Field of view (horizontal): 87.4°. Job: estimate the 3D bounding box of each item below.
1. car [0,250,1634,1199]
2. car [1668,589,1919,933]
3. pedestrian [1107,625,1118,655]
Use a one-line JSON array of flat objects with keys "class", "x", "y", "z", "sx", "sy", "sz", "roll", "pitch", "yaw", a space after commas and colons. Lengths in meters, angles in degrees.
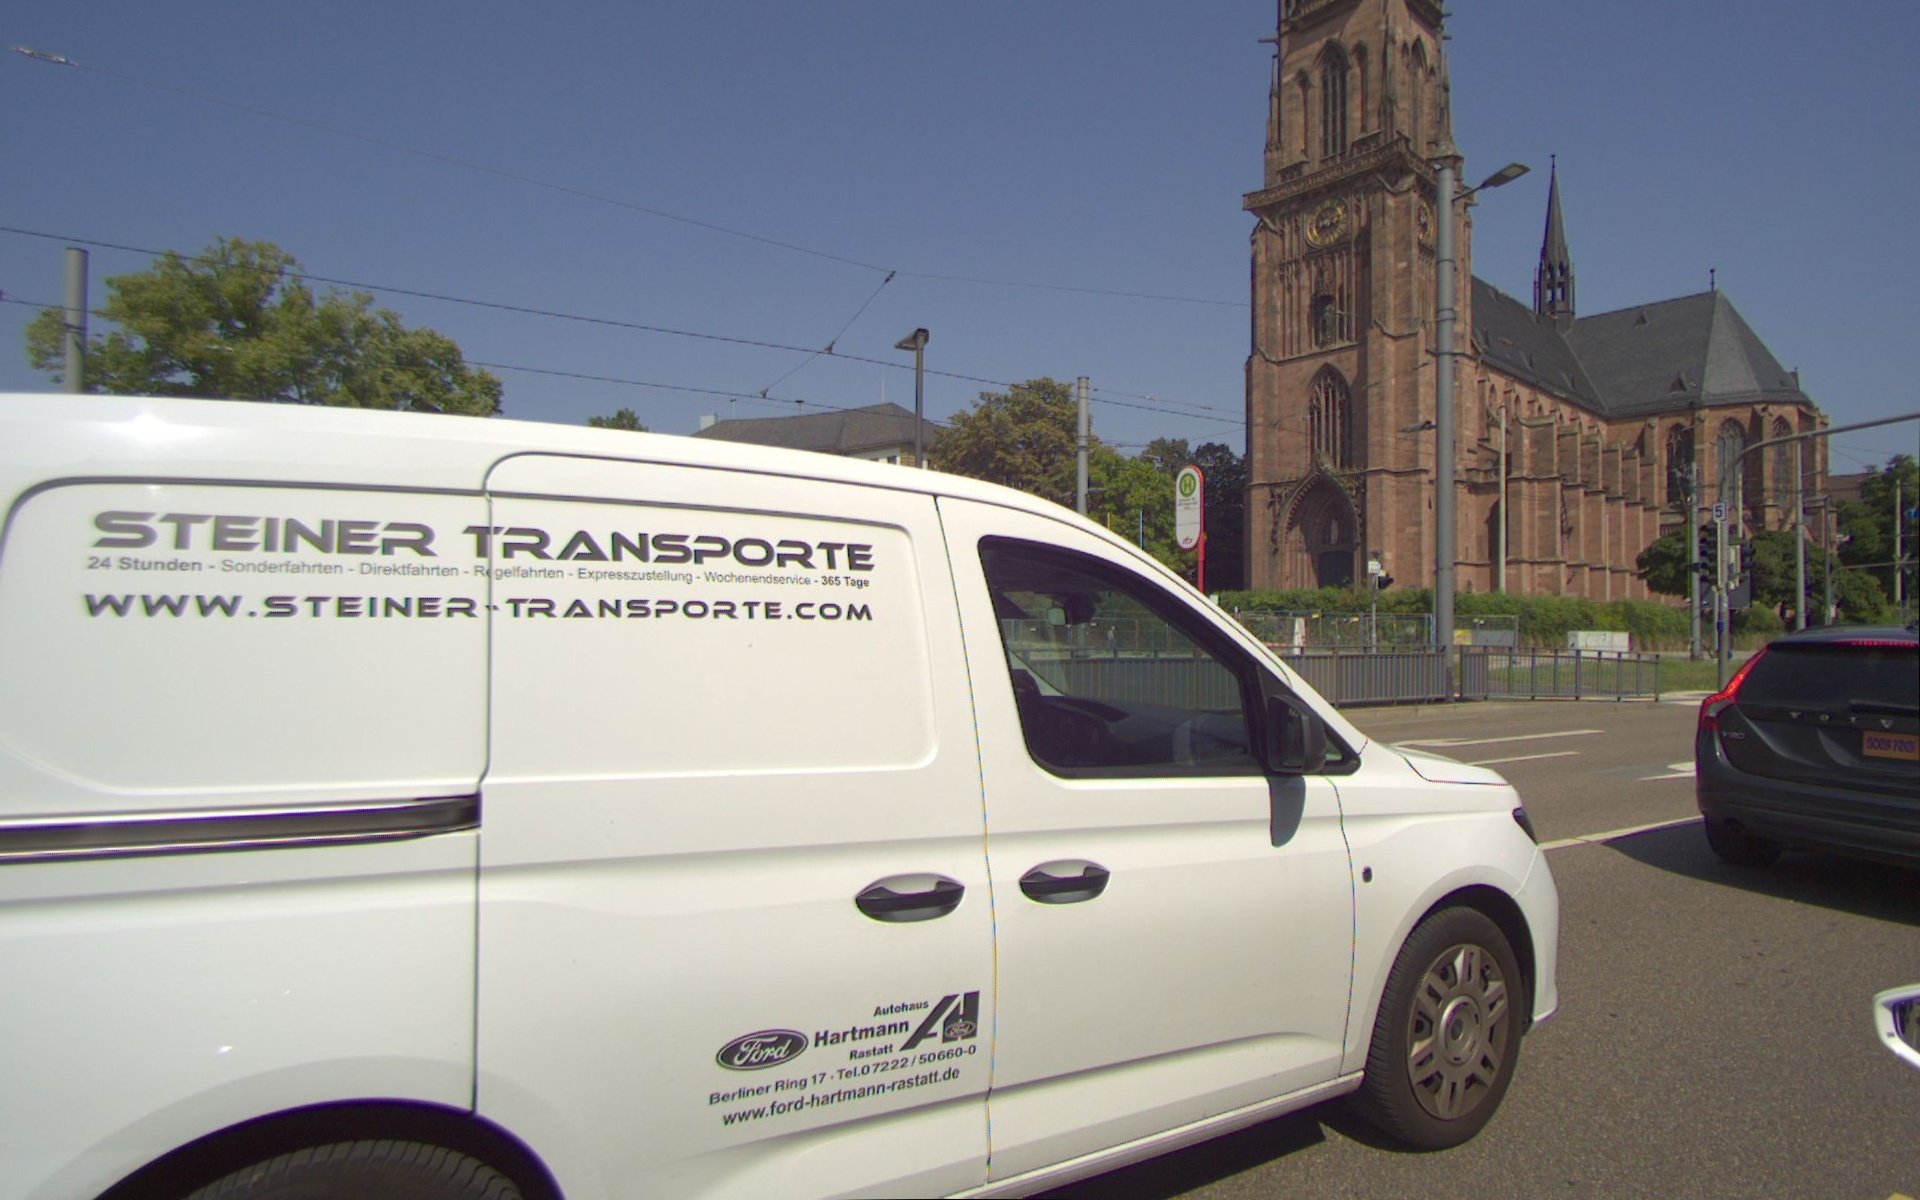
[{"class": "car", "x": -0.157, "y": 0.538, "z": 2.799, "sx": 4.189, "sy": 1.844, "sz": 1.739, "roll": 1, "pitch": -1, "yaw": -30}, {"class": "car", "x": 6.306, "y": 0.800, "z": 6.042, "sx": 4.258, "sy": 1.636, "sz": 1.739, "roll": 1, "pitch": 0, "yaw": -30}, {"class": "pedestrian", "x": 8.129, "y": 2.132, "z": 53.449, "sx": 0.533, "sy": 1.551, "sz": 0.436, "roll": 0, "pitch": -1, "yaw": 5}]
